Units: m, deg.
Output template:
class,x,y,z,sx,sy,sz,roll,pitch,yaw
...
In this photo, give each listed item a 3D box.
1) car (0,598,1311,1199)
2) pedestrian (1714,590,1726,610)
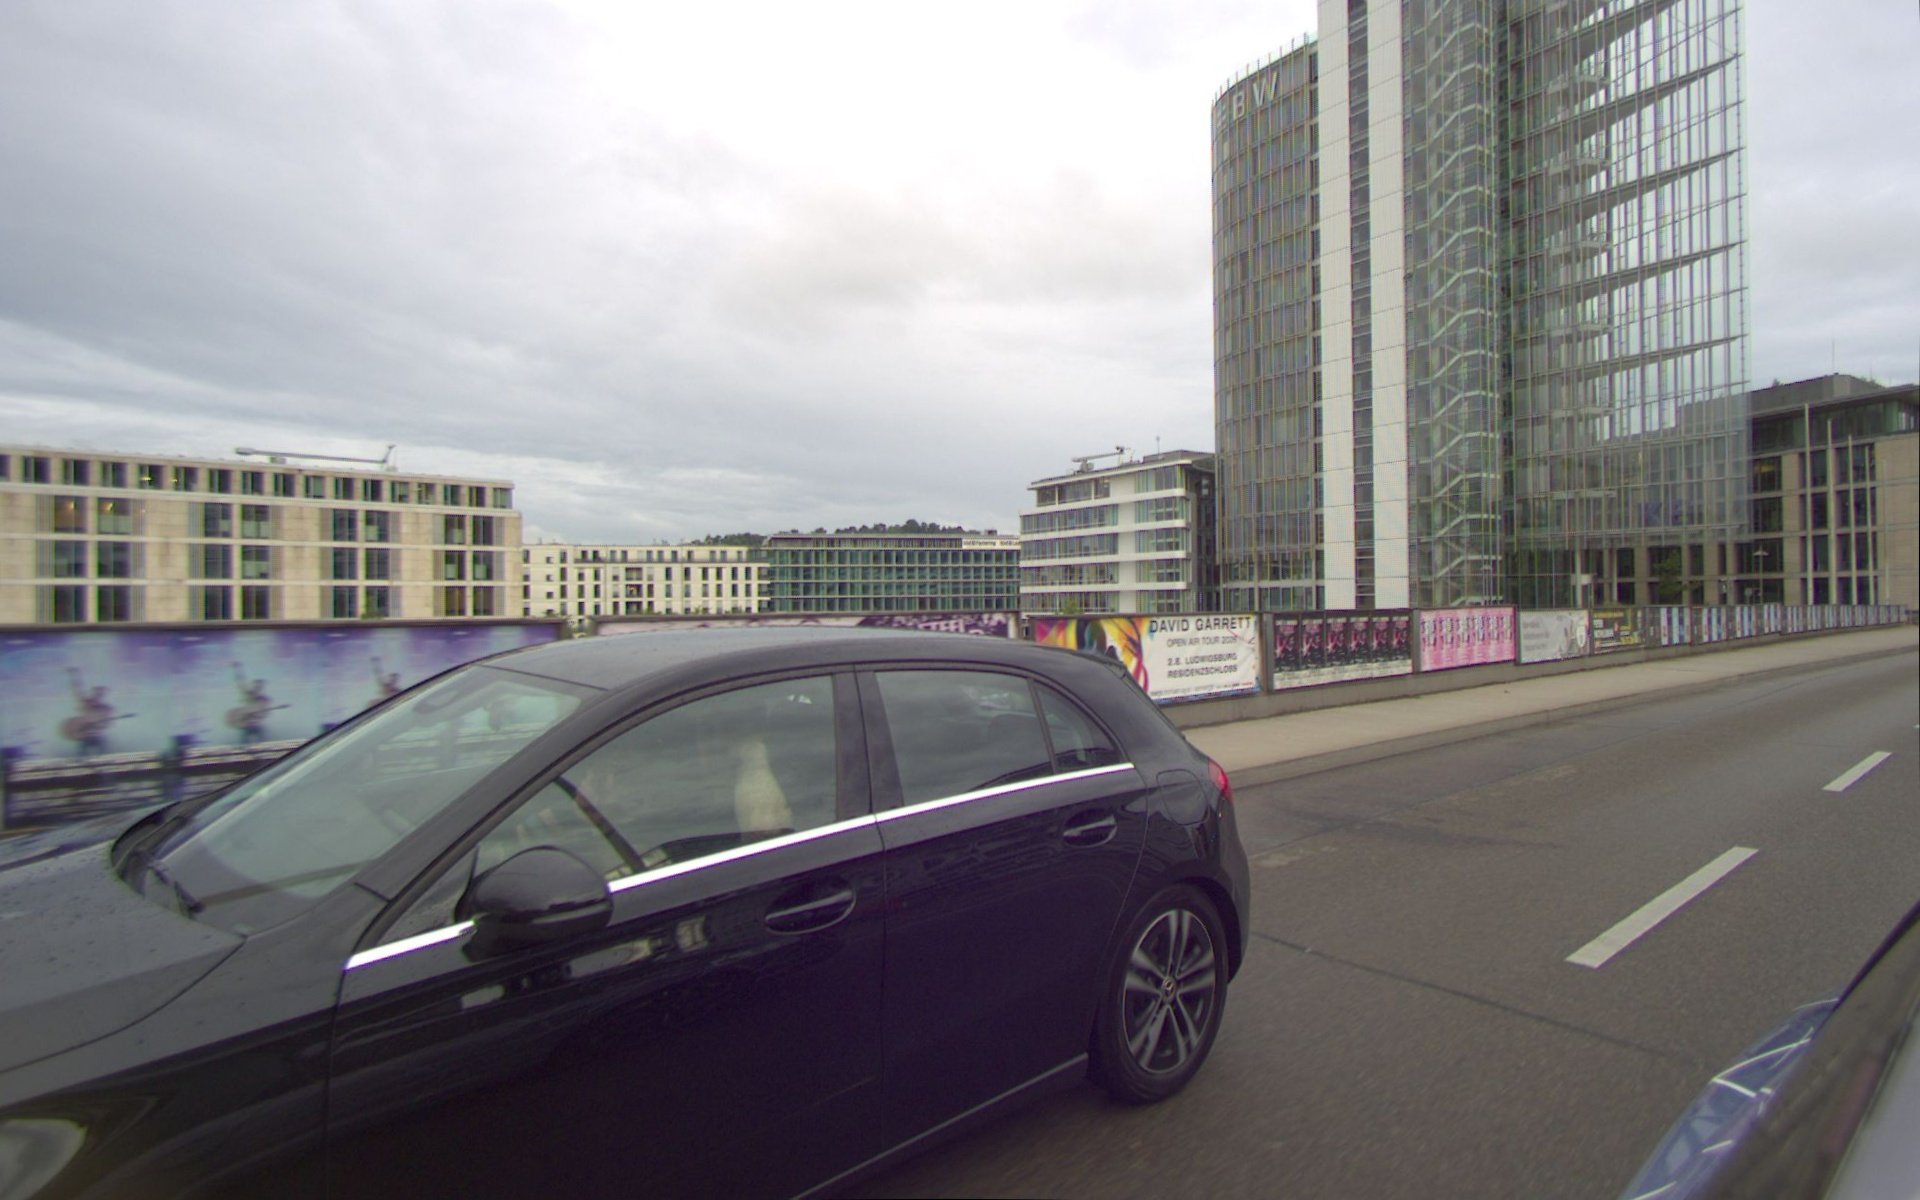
class,x,y,z,sx,sy,sz,roll,pitch,yaw
car,-0.885,0.742,2.703,4.085,1.393,1.725,-2,1,-43
pedestrian,69.706,-0.026,92.795,0.621,1.767,0.637,-1,1,-15
